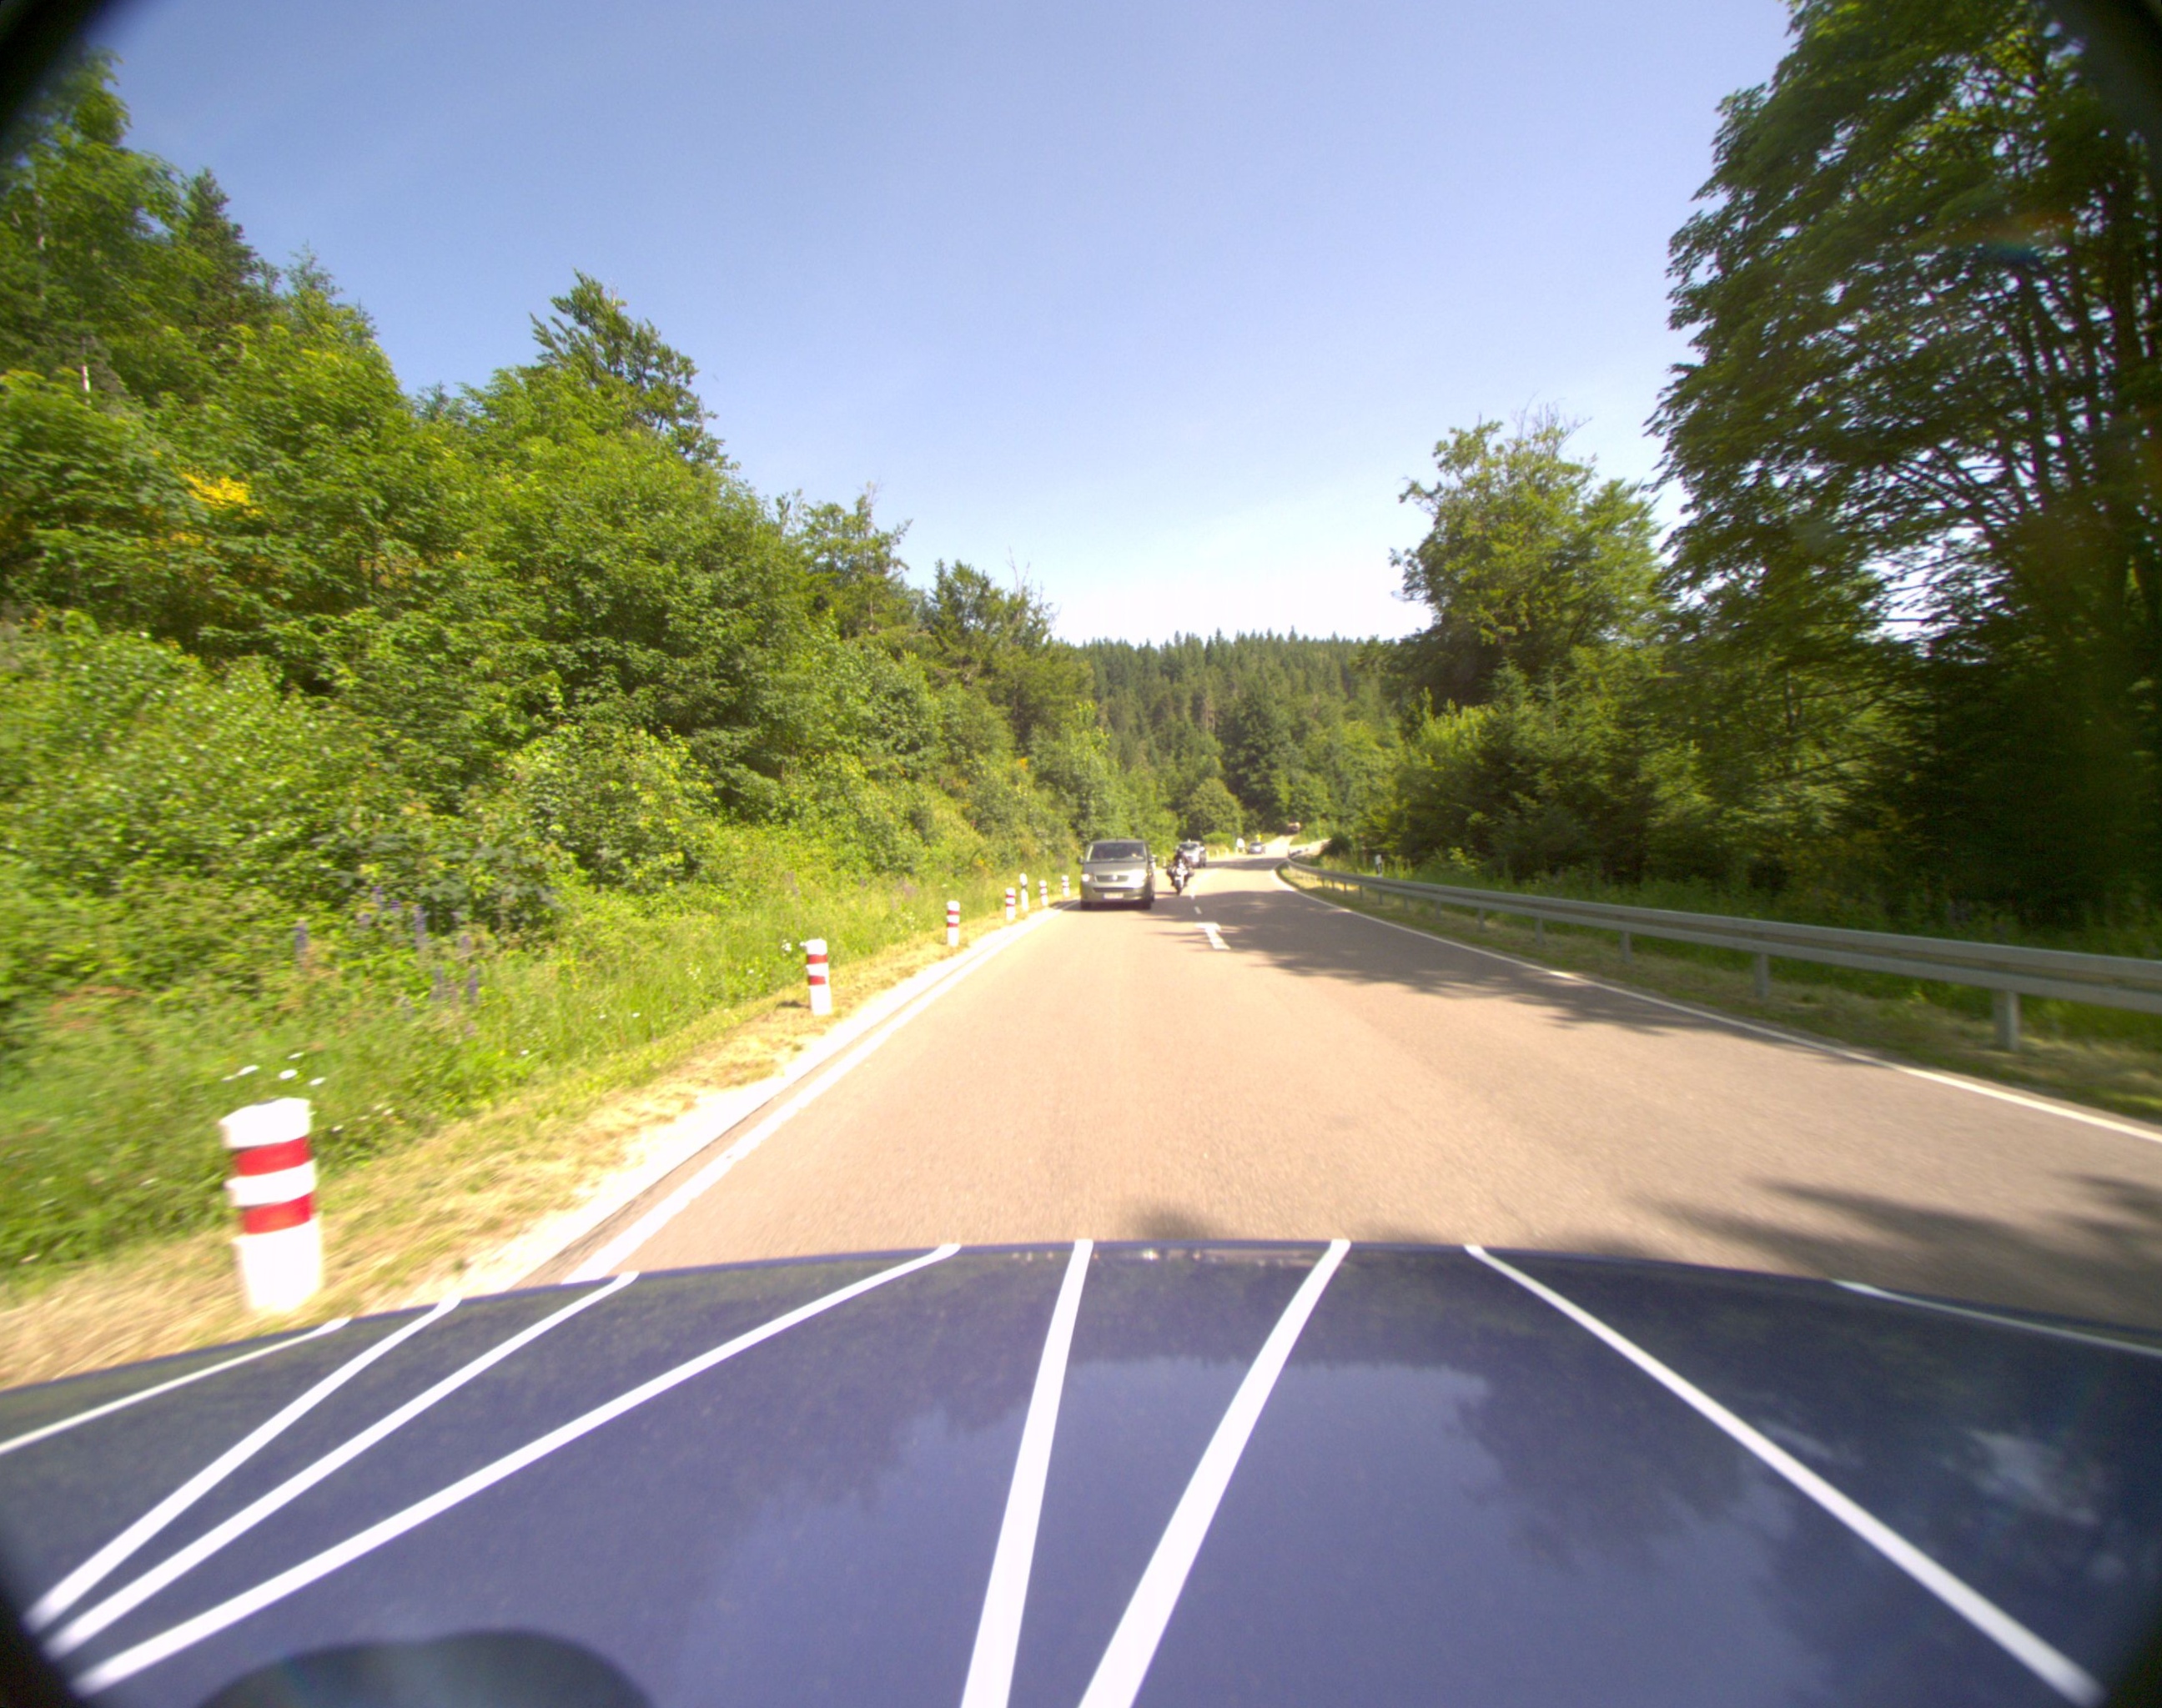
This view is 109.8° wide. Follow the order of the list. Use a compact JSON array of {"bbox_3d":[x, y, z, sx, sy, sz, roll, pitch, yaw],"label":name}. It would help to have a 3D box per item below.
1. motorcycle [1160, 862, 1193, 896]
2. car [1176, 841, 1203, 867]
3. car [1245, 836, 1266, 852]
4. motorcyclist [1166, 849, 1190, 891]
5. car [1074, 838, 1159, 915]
[{"bbox_3d":[3.416,0.865,27.043,1.109,1.117,1.962,-2,1,8],"label":"motorcycle"},{"bbox_3d":[7.814,-0.039,54.264,1.651,1.749,3.797,-1,1,12],"label":"car"},{"bbox_3d":[20.402,-1.206,88.764,1.996,1.634,4.004,-2,1,19],"label":"car"},{"bbox_3d":[3.436,0.561,26.911,0.716,1.422,1.000,-3,0,9],"label":"motorcyclist"},{"bbox_3d":[1.146,0.555,21.880,2.028,1.940,4.901,-1,1,7],"label":"car"}]
